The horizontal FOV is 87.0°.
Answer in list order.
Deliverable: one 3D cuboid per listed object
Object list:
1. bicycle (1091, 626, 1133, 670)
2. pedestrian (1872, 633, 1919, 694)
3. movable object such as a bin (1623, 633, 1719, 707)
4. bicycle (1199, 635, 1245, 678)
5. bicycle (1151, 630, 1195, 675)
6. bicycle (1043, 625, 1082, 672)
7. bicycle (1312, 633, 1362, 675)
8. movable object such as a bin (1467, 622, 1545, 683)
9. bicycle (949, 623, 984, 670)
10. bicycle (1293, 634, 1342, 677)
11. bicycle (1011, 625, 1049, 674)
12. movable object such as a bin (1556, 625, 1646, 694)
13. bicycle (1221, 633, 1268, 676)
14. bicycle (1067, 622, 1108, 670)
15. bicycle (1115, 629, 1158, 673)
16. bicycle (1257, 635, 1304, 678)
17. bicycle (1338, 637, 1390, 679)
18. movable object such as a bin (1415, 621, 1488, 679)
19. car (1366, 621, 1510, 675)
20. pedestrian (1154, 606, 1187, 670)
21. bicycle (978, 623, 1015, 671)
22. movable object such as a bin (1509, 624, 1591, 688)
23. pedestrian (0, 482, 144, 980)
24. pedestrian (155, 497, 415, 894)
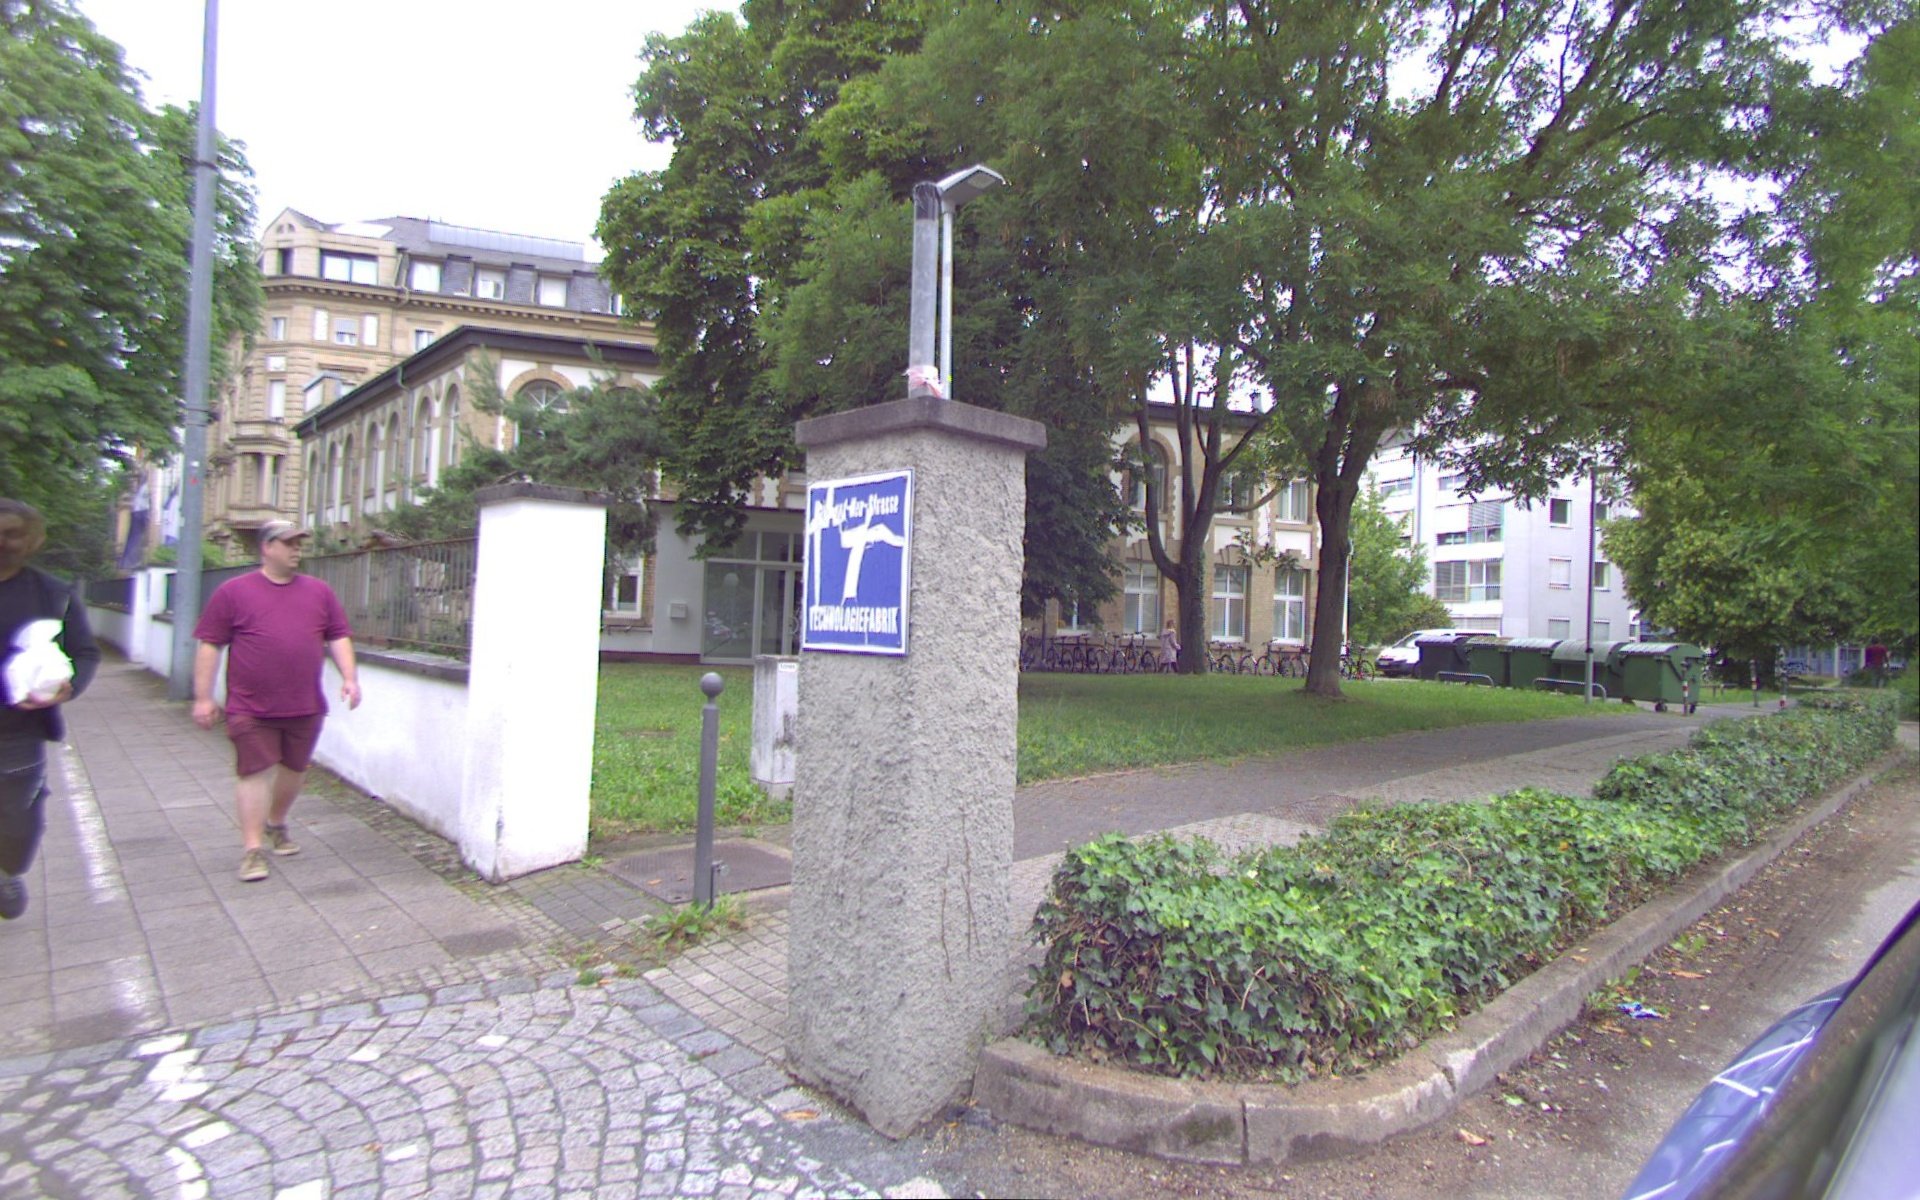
[{"bbox_3d":[4.096,1.285,27.381,0.451,1.129,1.748,2,-1,-14],"label":"bicycle"},{"bbox_3d":[33.364,2.261,36.066,1.175,2.091,0.796,2,-1,-19],"label":"pedestrian"},{"bbox_3d":[14.855,1.442,21.178,1.050,1.452,1.276,2,-1,-6],"label":"movable object such as a bin"},{"bbox_3d":[7.306,1.567,28.342,0.451,1.129,1.748,2,-1,-14],"label":"bicycle"},{"bbox_3d":[5.854,1.422,27.866,0.451,1.129,1.748,2,-1,-14],"label":"bicycle"},{"bbox_3d":[2.722,1.278,26.967,0.451,1.129,1.748,2,0,-14],"label":"bicycle"},{"bbox_3d":[10.917,1.558,29.371,0.451,1.129,1.748,2,-1,-14],"label":"bicycle"},{"bbox_3d":[13.678,1.301,25.392,1.086,1.469,1.329,2,-2,-24],"label":"movable object such as a bin"},{"bbox_3d":[0.157,1.186,26.163,0.451,1.129,1.748,2,-1,-14],"label":"bicycle"},{"bbox_3d":[10.305,1.587,29.226,0.451,1.129,1.748,2,-1,-14],"label":"bicycle"},{"bbox_3d":[1.814,1.281,26.511,0.451,1.128,1.749,2,2,-14],"label":"bicycle"},{"bbox_3d":[14.266,1.314,22.544,1.085,1.469,1.288,2,-2,-15],"label":"movable object such as a bin"},{"bbox_3d":[7.990,1.524,28.512,0.451,1.129,1.748,2,-1,-14],"label":"bicycle"},{"bbox_3d":[3.399,1.212,27.154,0.451,1.128,1.749,2,1,-14],"label":"bicycle"},{"bbox_3d":[4.797,1.366,27.566,0.451,1.129,1.748,2,-1,-14],"label":"bicycle"},{"bbox_3d":[9.109,1.595,28.836,0.451,1.129,1.747,2,-1,-12],"label":"bicycle"},{"bbox_3d":[11.779,1.685,29.559,0.451,1.129,1.748,2,-1,-14],"label":"bicycle"},{"bbox_3d":[13.053,1.320,26.930,1.085,1.469,1.365,2,-2,-21],"label":"movable object such as a bin"},{"bbox_3d":[17.903,1.813,37.967,4.673,1.898,1.904,2,-4,-14],"label":"car"},{"bbox_3d":[5.464,0.982,26.303,0.614,1.607,0.605,2,-2,-14],"label":"pedestrian"},{"bbox_3d":[0.941,1.202,26.310,0.451,1.128,1.748,2,1,-14],"label":"bicycle"},{"bbox_3d":[14.031,1.318,24.080,1.086,1.469,1.297,2,-2,-24],"label":"movable object such as a bin"},{"bbox_3d":[-3.724,0.454,3.830,0.951,1.740,0.791,0,-1,40],"label":"pedestrian"},{"bbox_3d":[-3.374,0.425,5.061,0.951,1.740,0.797,0,-2,40],"label":"pedestrian"}]
